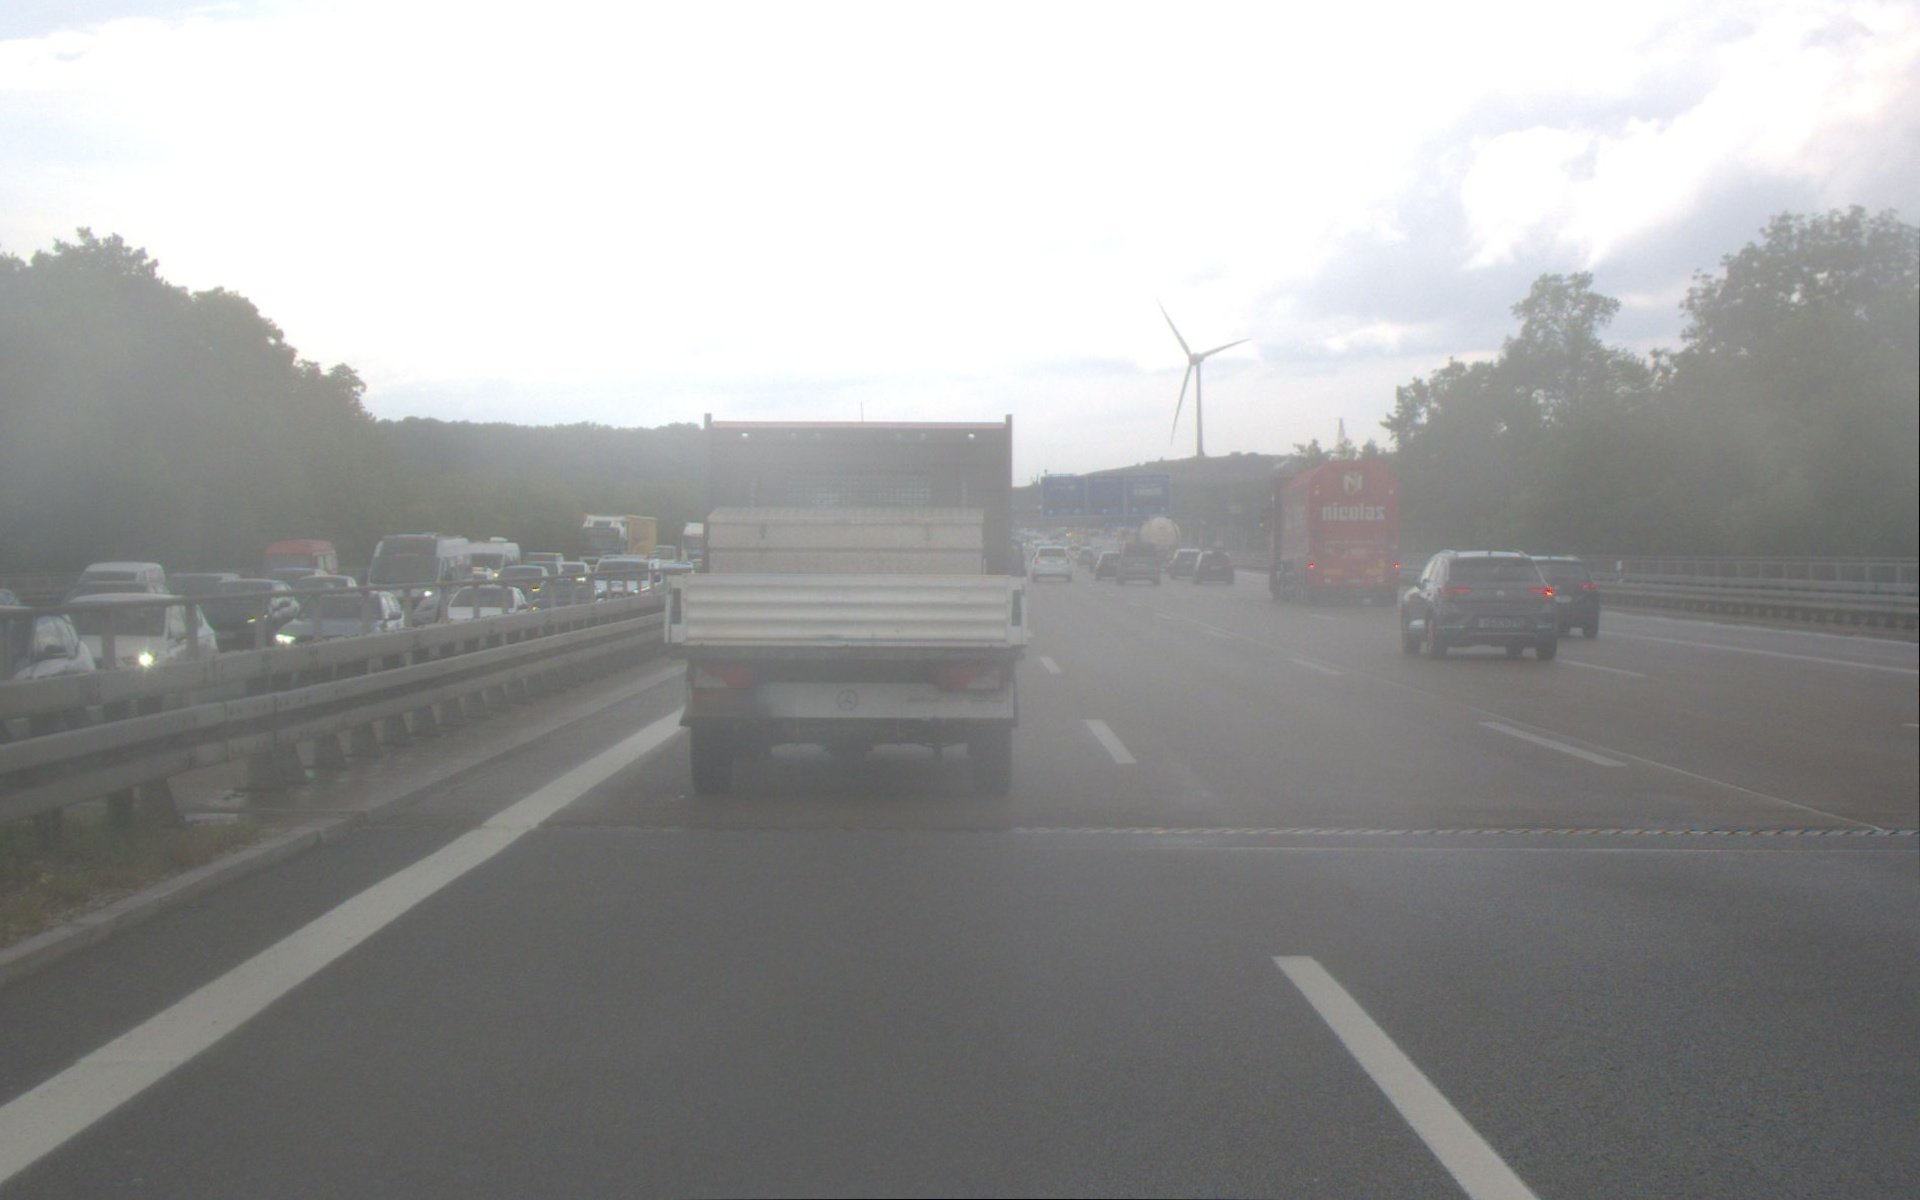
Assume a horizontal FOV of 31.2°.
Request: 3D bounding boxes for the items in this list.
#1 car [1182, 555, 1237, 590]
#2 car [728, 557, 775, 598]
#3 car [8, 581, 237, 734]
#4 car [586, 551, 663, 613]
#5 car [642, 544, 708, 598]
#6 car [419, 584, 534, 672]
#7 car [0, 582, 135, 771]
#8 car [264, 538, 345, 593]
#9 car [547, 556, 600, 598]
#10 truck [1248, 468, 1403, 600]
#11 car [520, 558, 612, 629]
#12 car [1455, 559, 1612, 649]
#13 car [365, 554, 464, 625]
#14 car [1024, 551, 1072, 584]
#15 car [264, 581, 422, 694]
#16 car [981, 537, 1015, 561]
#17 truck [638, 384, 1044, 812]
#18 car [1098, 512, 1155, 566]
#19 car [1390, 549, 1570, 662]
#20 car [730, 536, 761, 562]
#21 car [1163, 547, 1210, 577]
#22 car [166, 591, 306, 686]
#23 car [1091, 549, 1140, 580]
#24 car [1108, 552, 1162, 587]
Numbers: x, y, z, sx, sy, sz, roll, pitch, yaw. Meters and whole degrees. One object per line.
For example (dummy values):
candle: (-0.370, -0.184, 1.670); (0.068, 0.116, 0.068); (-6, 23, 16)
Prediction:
car: (11.693, -1.308, 161.301); (1.967, 1.555, 4.434); (-1, 1, -4)
car: (-9.500, -1.029, 156.859); (1.894, 1.794, 4.596); (-1, 1, 0)
car: (-10.678, 0.686, 44.158); (1.894, 1.794, 4.596); (-1, 1, -1)
car: (-10.107, -0.574, 103.784); (1.894, 1.794, 4.596); (-1, 1, 0)
car: (-9.776, -0.996, 118.061); (1.894, 1.794, 4.596); (-1, 1, 0)
car: (-10.593, 0.586, 75.633); (1.894, 1.794, 4.596); (-1, 1, 0)
car: (-10.286, 0.741, 36.332); (1.894, 1.794, 5.571); (-1, 1, -1)
car: (-22.183, -1.171, 116.518); (1.894, 1.794, 4.596); (-1, 1, 0)
car: (-17.265, -1.032, 153.741); (1.894, 1.794, 4.596); (-1, 1, 0)
truck: (10.625, -2.002, 101.249); (3.152, 3.589, 12.700); (1, 2, 0)
car: (-10.353, -0.198, 90.551); (1.894, 1.794, 4.596); (-1, 1, 0)
car: (10.434, 0.042, 62.852); (1.882, 1.555, 4.434); (-1, 1, -3)
car: (-14.430, -0.307, 91.103); (1.894, 1.794, 4.596); (-1, 1, 0)
car: (4.330, -1.608, 169.227); (1.967, 1.555, 4.434); (-1, 1, -4)
car: (-10.528, 0.609, 58.935); (1.894, 1.794, 4.596); (-1, 1, 0)
car: (2.540, -3.432, 232.530); (1.967, 1.555, 4.434); (-1, 1, -3)
truck: (-0.716, -0.097, 23.175); (2.307, 2.431, 7.149); (0, 1, -1)
car: (6.510, -2.410, 134.806); (1.993, 2.006, 4.000); (1, 2, 0)
car: (7.454, 0.046, 49.644); (1.882, 1.537, 4.433); (-1, 1, 0)
car: (-14.942, -3.579, 239.908); (1.894, 1.794, 4.596); (-1, 1, 0)
car: (12.097, -2.053, 183.957); (1.967, 1.555, 4.434); (-1, 1, -4)
car: (-14.766, 0.760, 70.351); (1.894, 1.794, 4.596); (-1, 1, 0)
car: (8.082, -1.866, 179.171); (1.967, 1.555, 4.434); (-1, 1, -5)
car: (7.973, -1.417, 157.132); (1.967, 1.555, 4.434); (-1, 1, -4)
